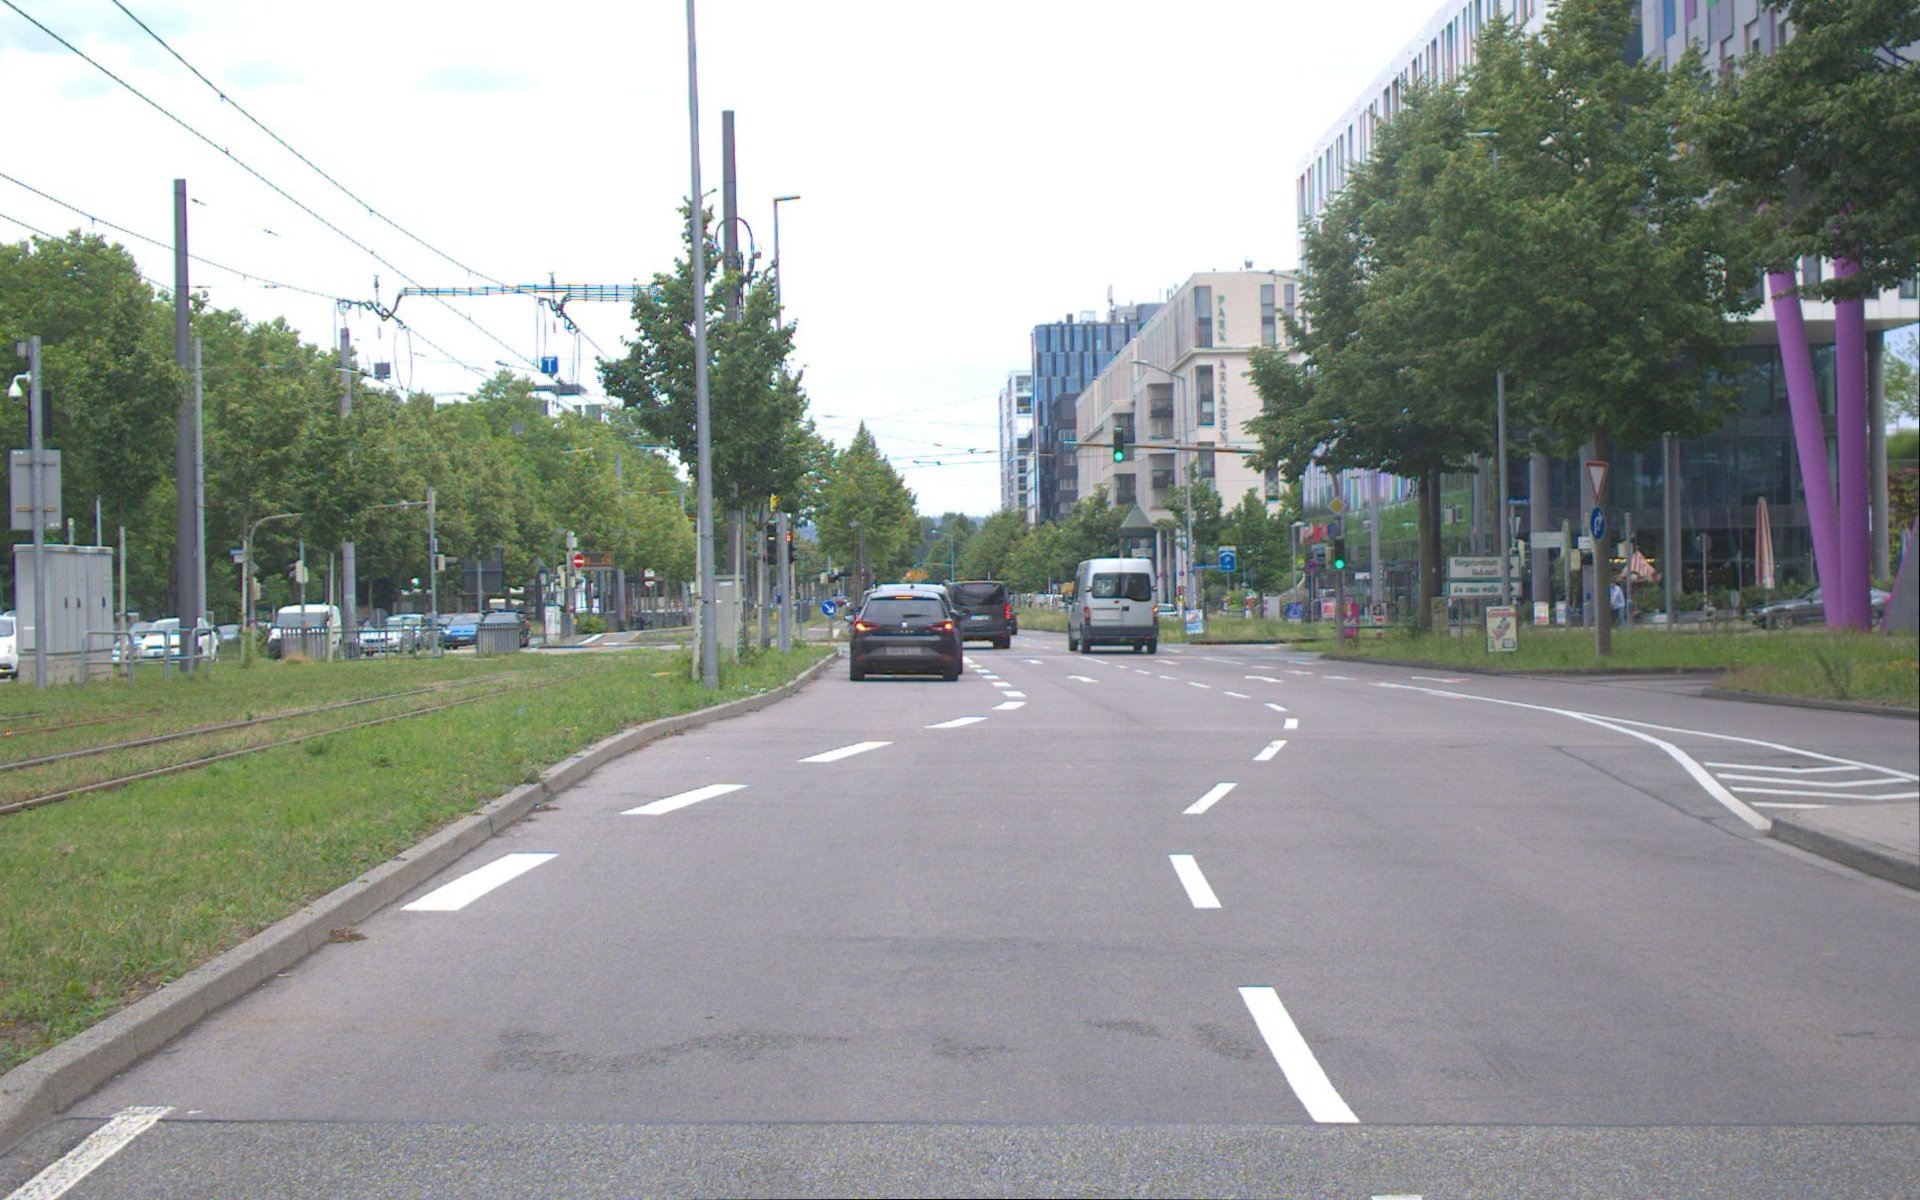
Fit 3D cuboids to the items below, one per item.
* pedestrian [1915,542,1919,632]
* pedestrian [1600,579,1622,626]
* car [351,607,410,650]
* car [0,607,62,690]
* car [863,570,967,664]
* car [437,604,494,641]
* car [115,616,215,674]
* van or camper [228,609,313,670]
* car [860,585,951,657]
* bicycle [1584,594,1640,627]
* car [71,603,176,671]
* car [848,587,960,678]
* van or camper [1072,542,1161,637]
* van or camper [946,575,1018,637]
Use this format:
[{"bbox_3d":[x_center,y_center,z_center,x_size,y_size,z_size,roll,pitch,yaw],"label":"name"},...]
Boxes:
[{"bbox_3d":[19.378,-0.263,67.262,1.051,1.764,1.137,-1,1,0],"label":"pedestrian"},{"bbox_3d":[22.104,0.083,116.789,0.614,1.599,0.618,-1,0,2],"label":"pedestrian"},{"bbox_3d":[-21.660,1.037,128.549,1.728,1.440,4.923,-3,1,-5],"label":"car"},{"bbox_3d":[-20.535,1.023,72.827,1.993,1.580,4.380,-1,1,-2],"label":"car"},{"bbox_3d":[-0.811,0.289,62.173,1.802,1.619,4.000,-1,0,-1],"label":"car"},{"bbox_3d":[-21.816,0.968,151.842,1.964,1.583,4.689,0,0,-2],"label":"car"},{"bbox_3d":[-22.166,1.232,95.984,1.762,1.474,4.573,-2,0,-1],"label":"car"},{"bbox_3d":[-22.653,1.273,113.122,1.889,1.894,5.125,-2,0,-2],"label":"van or camper"},{"bbox_3d":[-1.262,0.480,81.928,1.993,1.676,4.000,0,0,2],"label":"car"},{"bbox_3d":[22.151,0.344,116.787,1.792,1.082,0.618,-1,0,1],"label":"bicycle"},{"bbox_3d":[-26.140,1.123,107.603,1.993,2.007,5.295,-1,0,0],"label":"car"},{"bbox_3d":[-0.927,0.504,55.842,1.743,1.412,4.000,0,0,-2],"label":"car"},{"bbox_3d":[4.108,-0.310,90.852,2.109,2.348,4.923,0,2,0],"label":"van or camper"},{"bbox_3d":[0.602,0.148,97.104,1.993,1.610,4.789,0,1,0],"label":"van or camper"}]
